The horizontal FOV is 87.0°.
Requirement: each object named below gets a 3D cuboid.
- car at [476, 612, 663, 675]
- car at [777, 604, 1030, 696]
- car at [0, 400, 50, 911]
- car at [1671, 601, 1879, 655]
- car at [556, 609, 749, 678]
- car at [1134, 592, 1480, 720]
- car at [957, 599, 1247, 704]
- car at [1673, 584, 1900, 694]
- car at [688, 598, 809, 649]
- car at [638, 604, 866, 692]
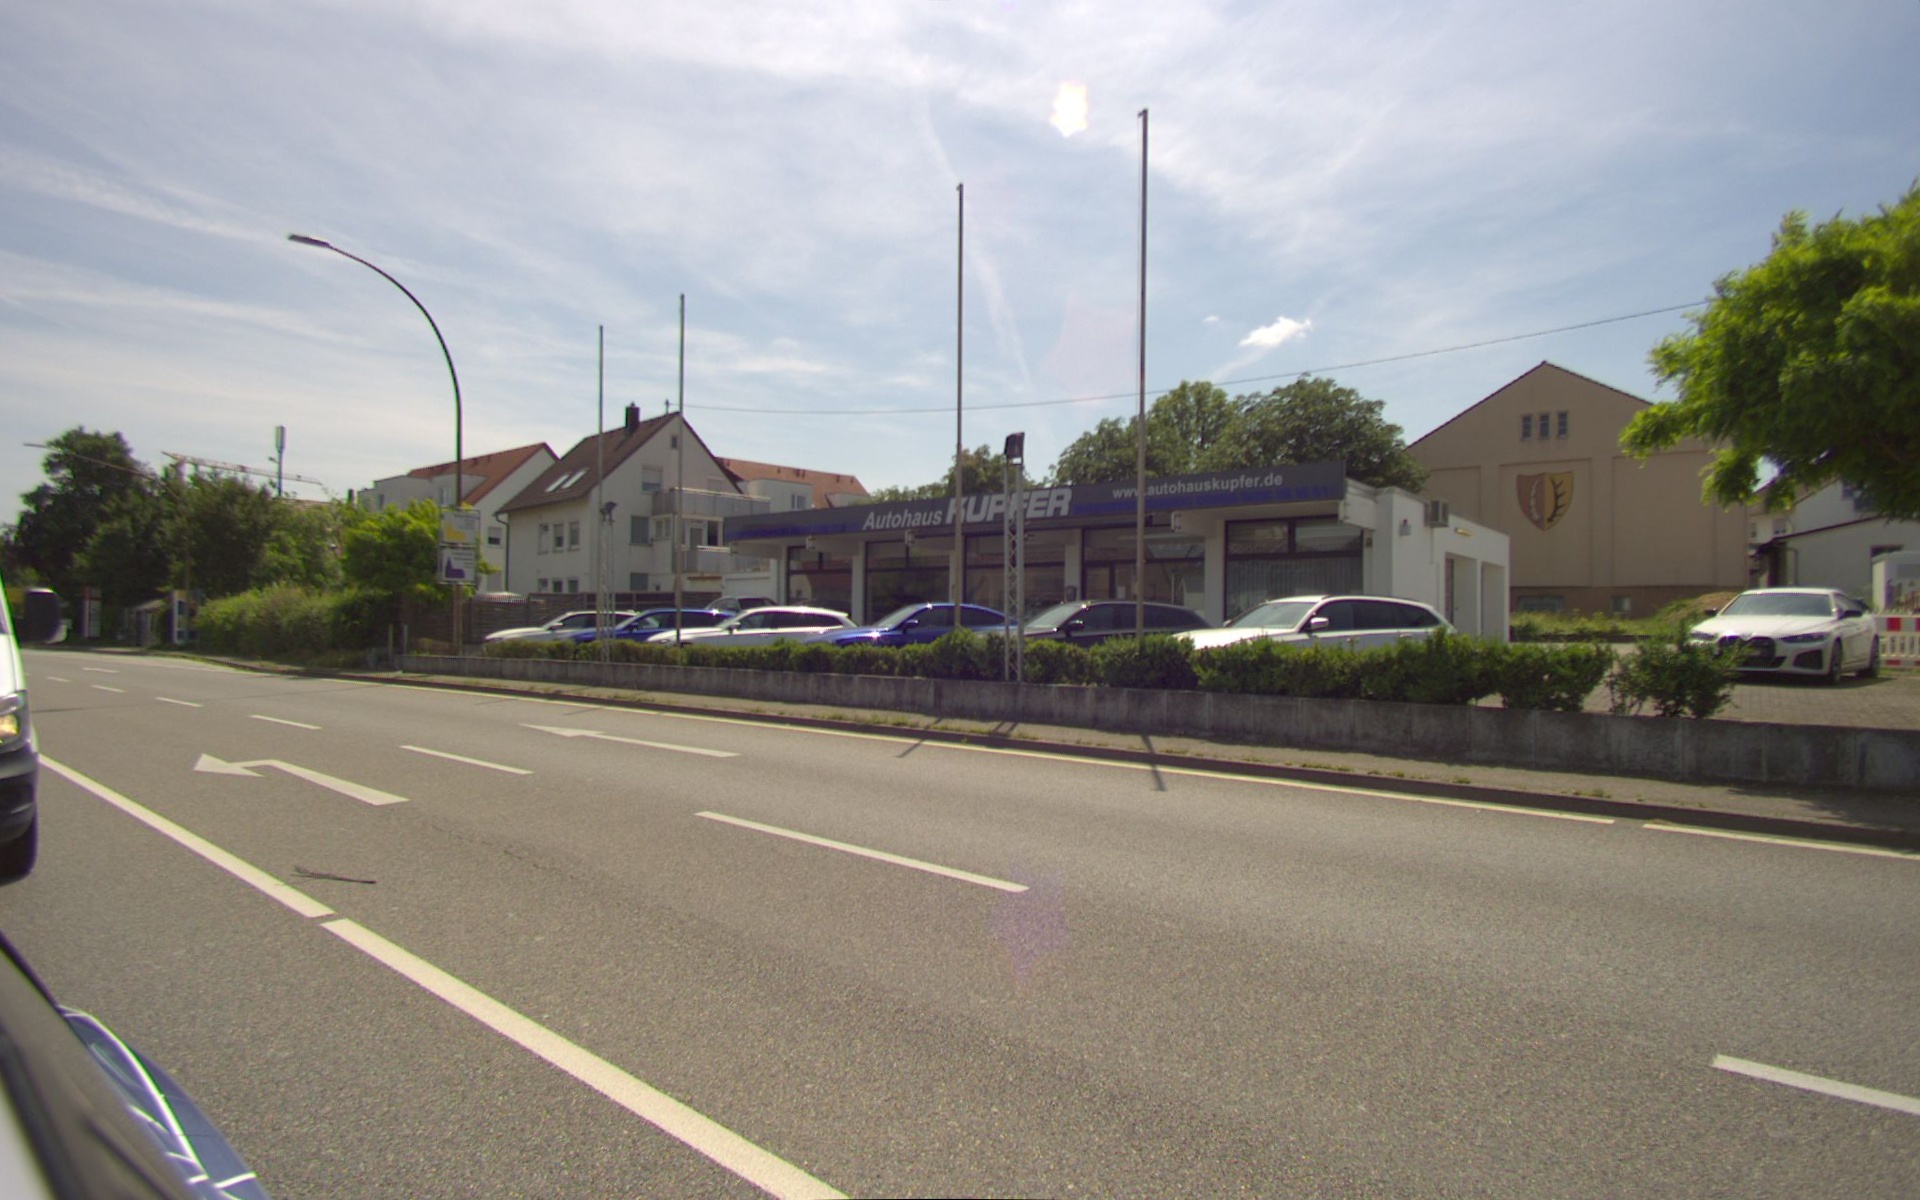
[{"bbox_3d":[-10.329,1.104,26.977,4.501,1.458,1.863,-1,0,-21],"label":"car"},{"bbox_3d":[-1.044,0.840,18.656,4.267,1.458,1.863,-1,0,-24],"label":"car"},{"bbox_3d":[-7.465,0.324,6.329,5.745,2.548,1.914,-1,-1,41],"label":"car"},{"bbox_3d":[21.406,0.715,26.698,3.946,1.231,1.791,-2,0,2],"label":"car"},{"bbox_3d":[-7.404,0.997,24.376,4.267,1.458,1.863,-1,0,-21],"label":"car"},{"bbox_3d":[4.662,0.639,13.572,4.267,1.458,1.863,-1,0,-25],"label":"car"},{"bbox_3d":[2.291,0.743,16.308,4.267,1.458,1.905,-1,0,-25],"label":"car"},{"bbox_3d":[13.119,0.545,16.006,3.935,1.521,1.839,-1,-1,-37],"label":"car"},{"bbox_3d":[-6.751,0.737,32.004,1.782,1.475,4.589,-1,0,-40],"label":"car"},{"bbox_3d":[-4.397,0.937,21.335,4.438,1.458,1.863,-3,1,-20],"label":"car"}]
